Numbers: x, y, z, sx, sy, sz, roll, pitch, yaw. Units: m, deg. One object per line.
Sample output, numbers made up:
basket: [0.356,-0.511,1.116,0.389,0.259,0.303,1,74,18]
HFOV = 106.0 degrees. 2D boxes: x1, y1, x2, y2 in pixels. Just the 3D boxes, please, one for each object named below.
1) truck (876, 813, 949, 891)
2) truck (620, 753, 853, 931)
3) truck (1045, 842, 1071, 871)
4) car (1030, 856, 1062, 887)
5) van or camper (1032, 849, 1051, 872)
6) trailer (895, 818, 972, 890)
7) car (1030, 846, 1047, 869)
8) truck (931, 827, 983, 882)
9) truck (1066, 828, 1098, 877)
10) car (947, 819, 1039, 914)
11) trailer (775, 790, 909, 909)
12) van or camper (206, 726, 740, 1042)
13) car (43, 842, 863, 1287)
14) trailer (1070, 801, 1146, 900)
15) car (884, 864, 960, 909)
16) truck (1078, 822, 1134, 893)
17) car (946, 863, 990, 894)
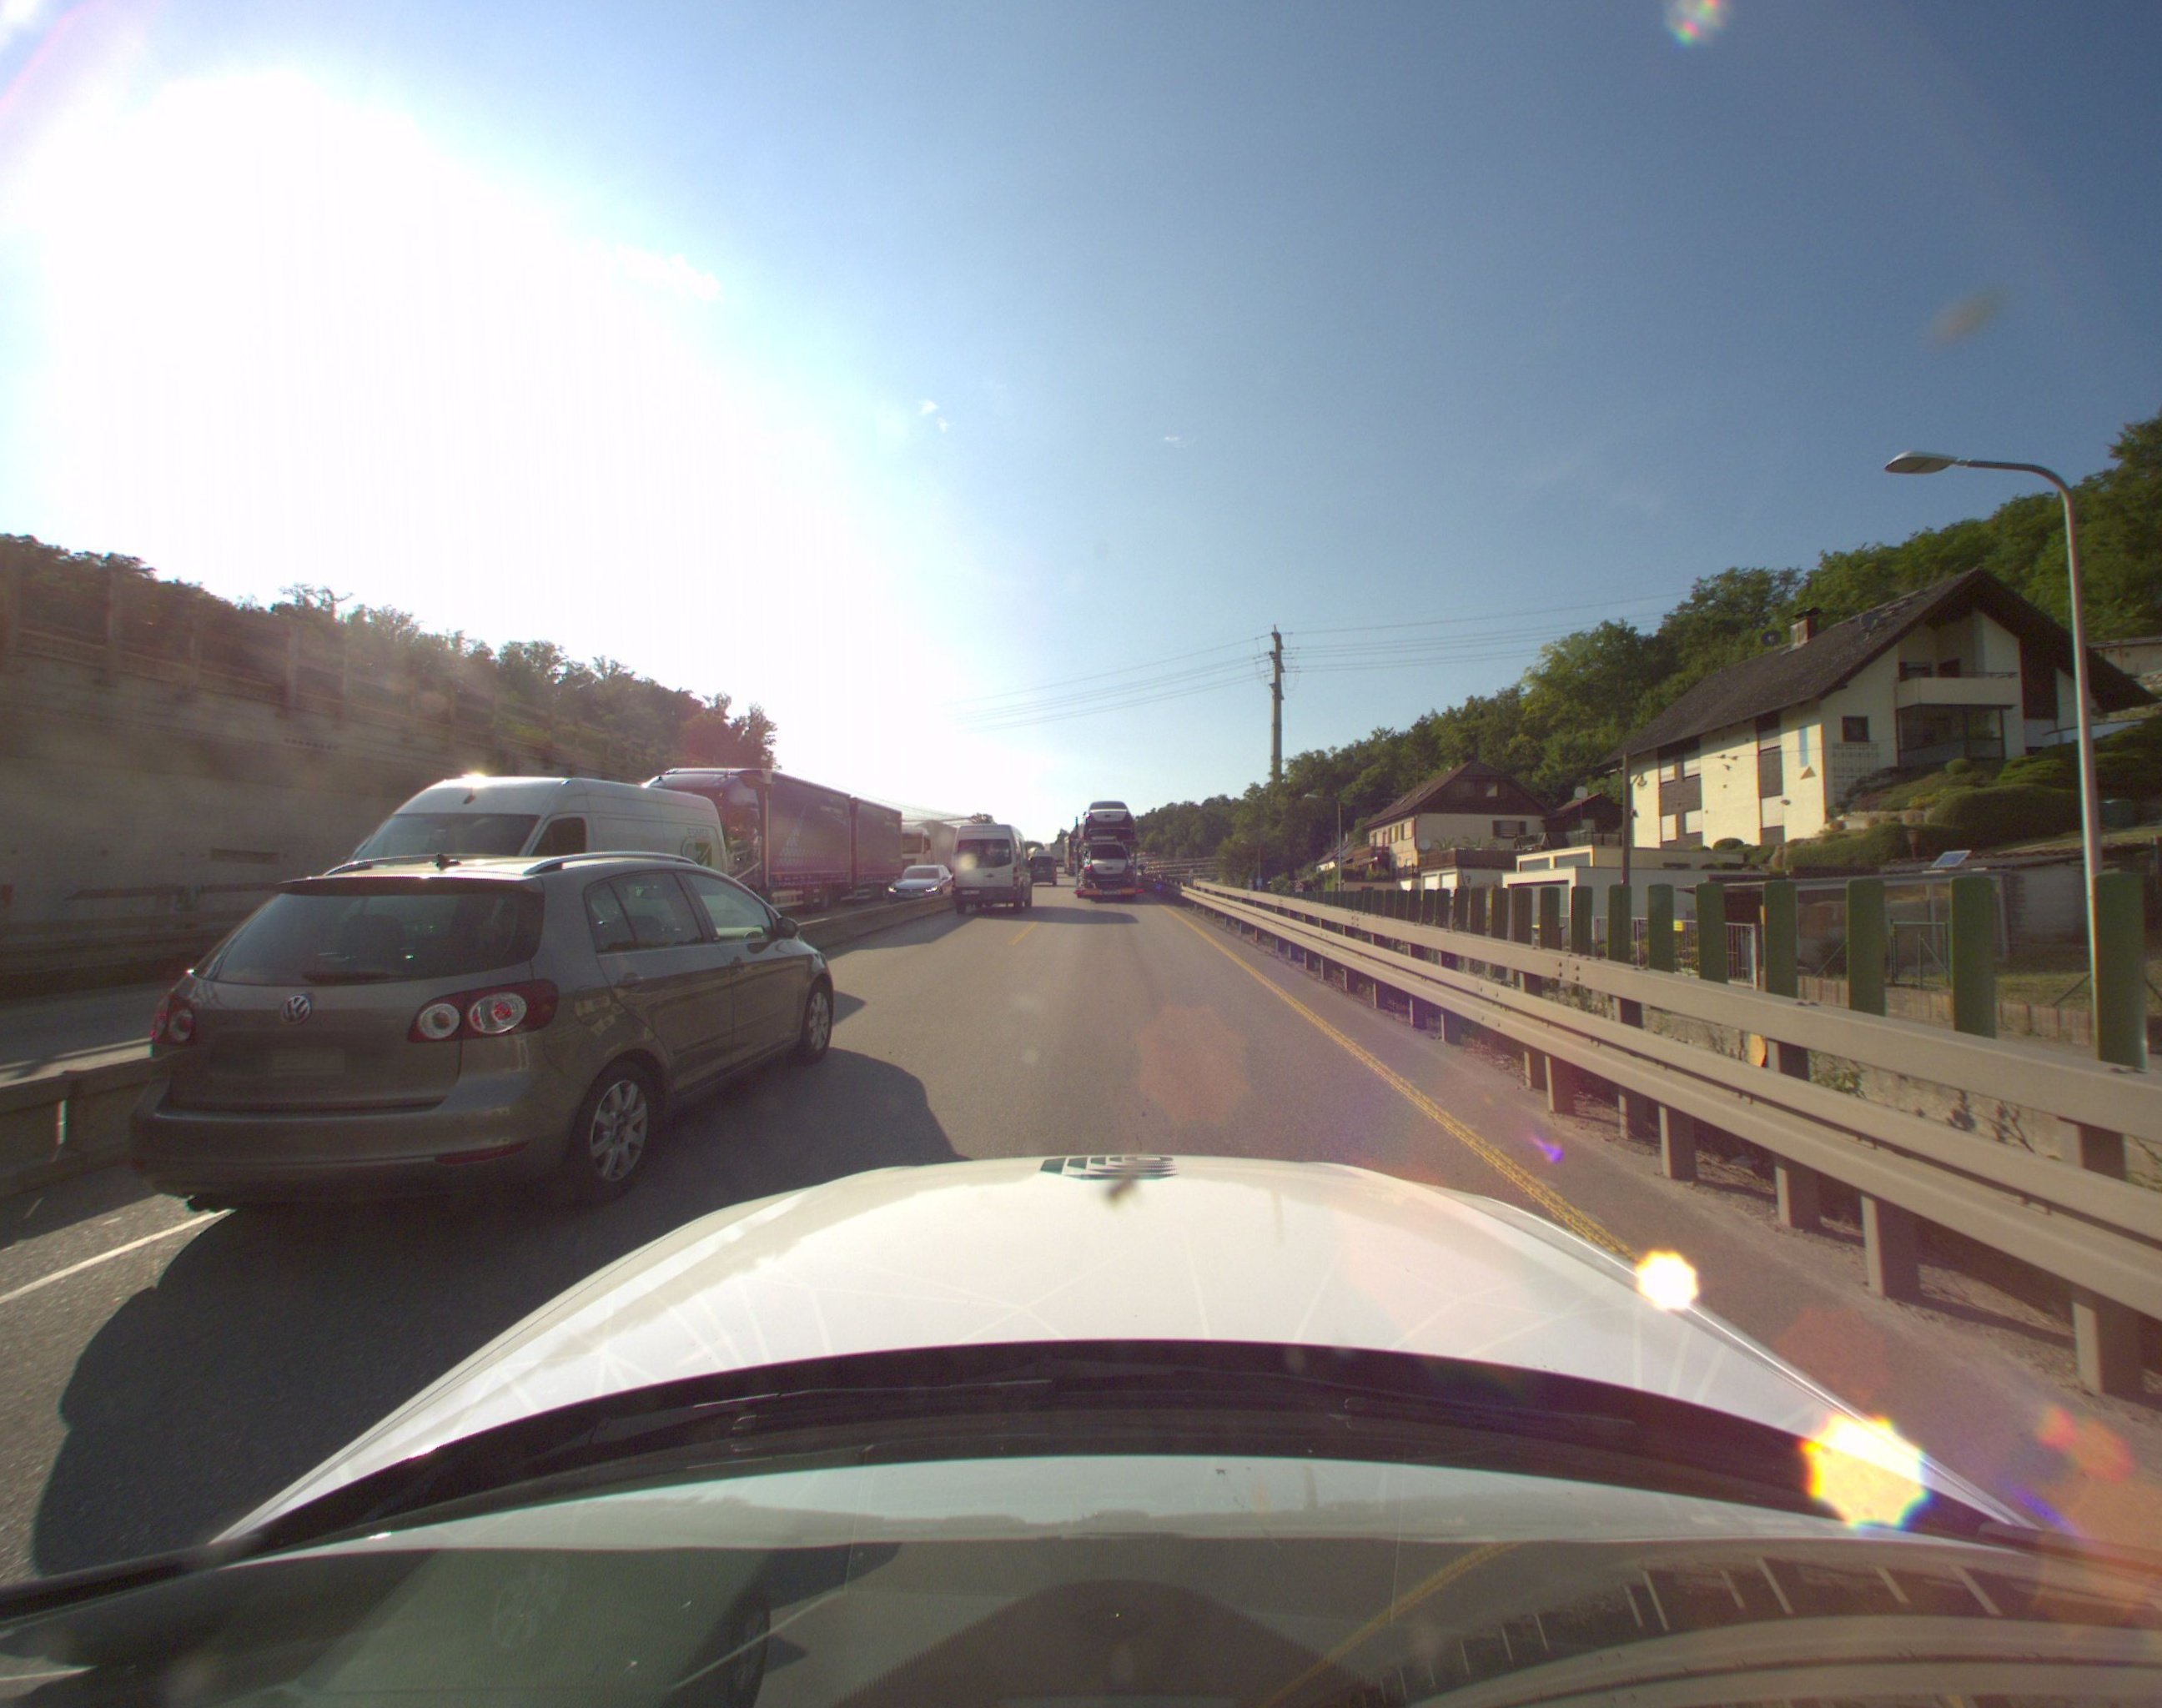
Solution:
truck: [-9.522,-0.036,46.825,2.701,4.093,6.201,3,-2,0]
truck: [-9.385,-0.234,23.799,2.615,4.113,9.626,-1,-1,0]
truck: [-4.144,0.495,143.714,4.057,4.680,10.577,2,-1,-4]
car: [-2.258,1.157,53.709,1.802,1.904,4.000,3,-2,1]
van or camper: [-4.591,0.796,95.407,1.963,2.592,5.038,3,-2,-1]
trailer: [-9.525,0.161,54.257,2.701,4.093,12.564,3,-2,0]
car: [-9.719,0.889,186.537,3.438,5.035,9.638,2,-1,-4]
truck: [-9.997,0.079,66.561,2.974,4.153,7.389,2,-1,-1]
truck: [0.079,-0.067,81.541,2.898,4.607,7.284,2,-1,0]
car: [-2.648,0.391,25.869,1.985,2.648,5.534,1,-1,3]
trailer: [-9.422,-0.118,33.398,2.598,4.113,9.624,-1,-1,0]
van or camper: [-6.541,0.288,10.051,1.986,2.706,5.958,-1,-1,1]
car: [-2.830,0.754,5.061,1.674,1.588,4.273,0,0,2]
trailer: [1.204,0.089,37.404,2.672,3.535,15.291,-2,-2,2]
car: [-5.805,1.185,30.327,1.765,1.537,4.404,1,-2,2]
truck: [1.254,0.284,45.146,2.675,3.535,7.189,-2,-2,-1]
car: [-6.116,1.330,44.490,1.655,1.530,4.000,3,-2,1]
